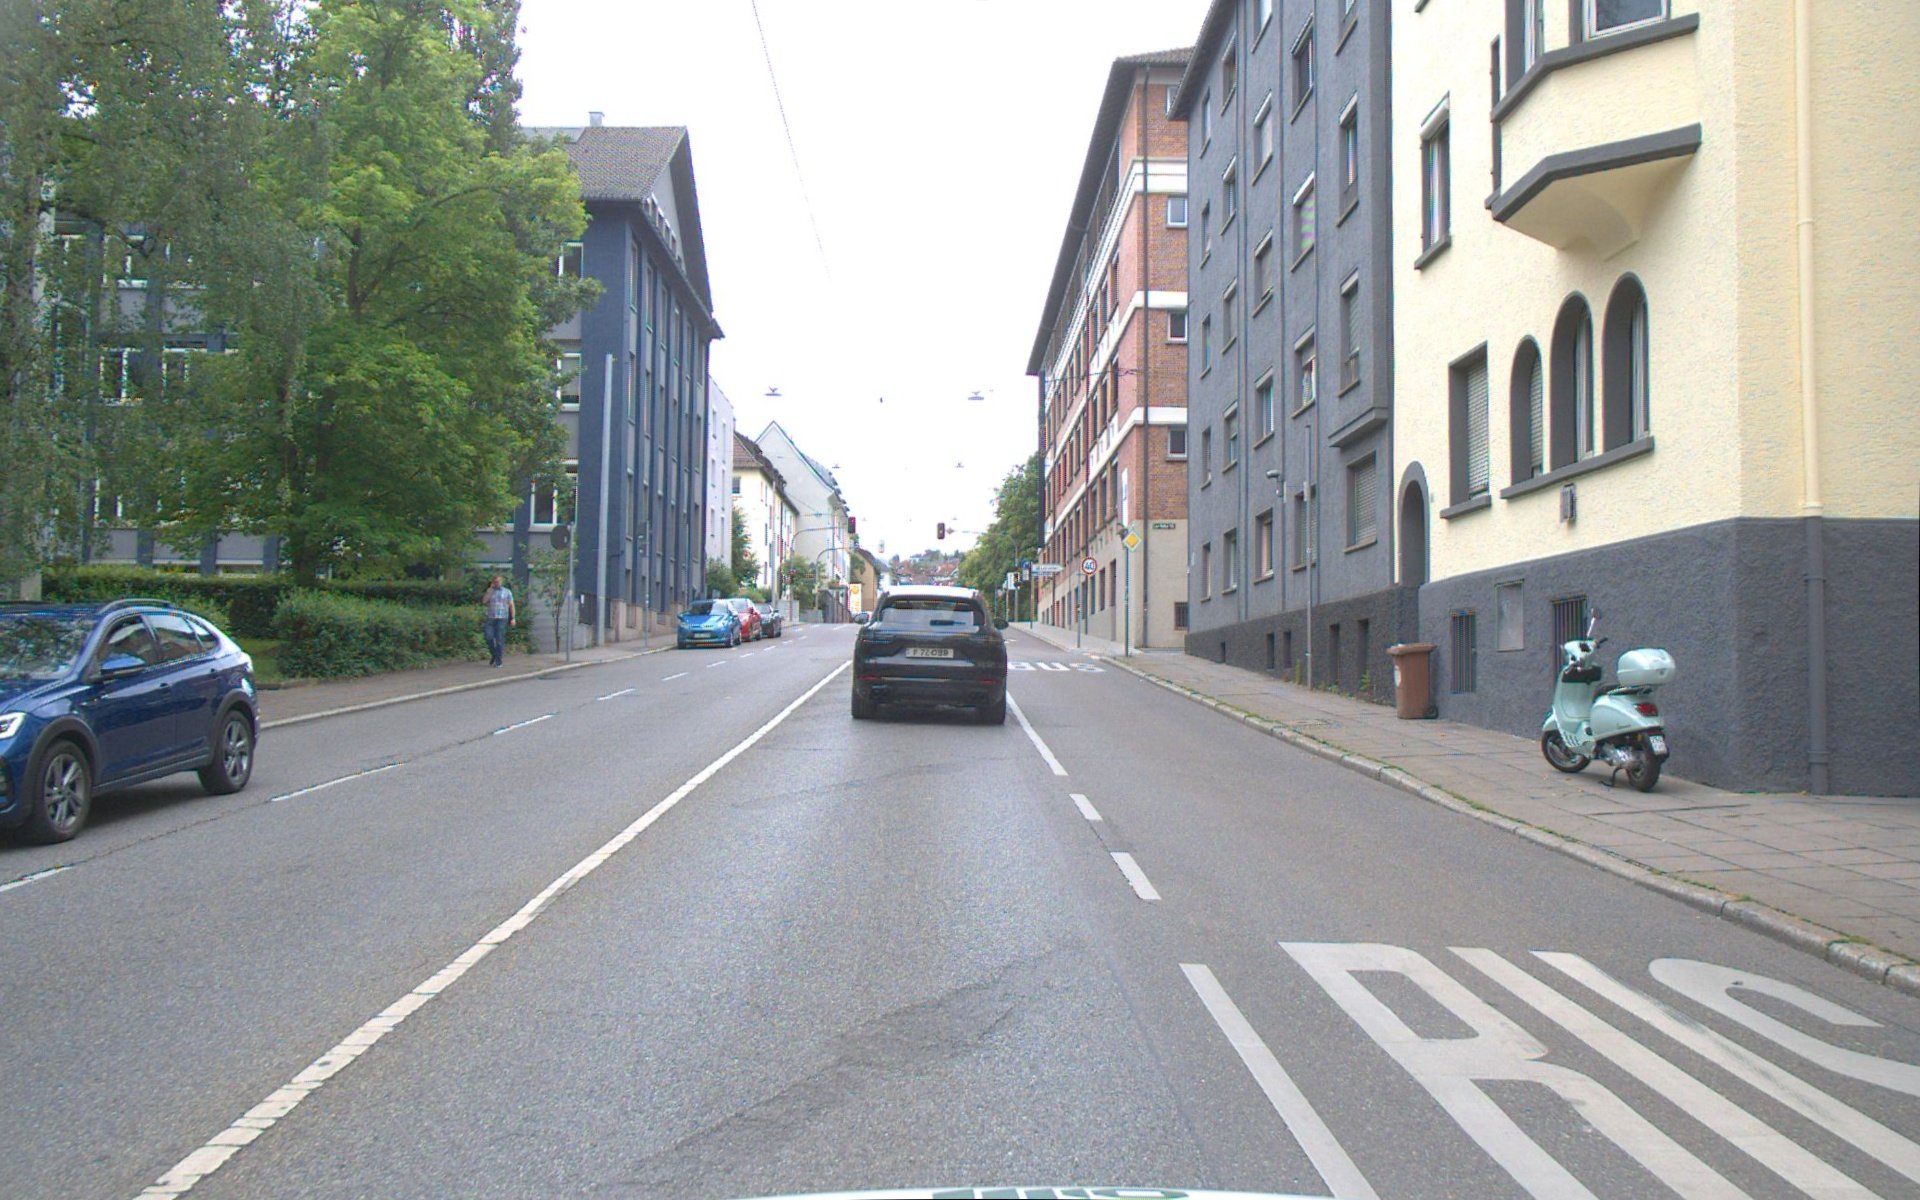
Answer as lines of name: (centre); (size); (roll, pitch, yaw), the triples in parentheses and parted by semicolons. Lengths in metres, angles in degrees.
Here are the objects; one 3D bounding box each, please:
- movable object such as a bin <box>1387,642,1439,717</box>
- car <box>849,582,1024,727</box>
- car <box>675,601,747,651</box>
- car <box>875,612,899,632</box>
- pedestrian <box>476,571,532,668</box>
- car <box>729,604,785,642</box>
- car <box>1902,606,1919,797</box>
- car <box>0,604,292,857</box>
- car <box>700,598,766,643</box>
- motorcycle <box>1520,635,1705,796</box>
movable object such as a bin: (5.703, 0.998, 20.837); (0.465, 0.907, 0.516); (-2, 0, -2)
car: (-0.422, 0.672, 21.996); (1.984, 1.670, 4.351); (2, 0, -5)
car: (-7.793, 0.780, 51.985); (1.679, 1.448, 3.988); (-2, 0, -1)
car: (-6.455, 1.928, 146.435); (1.858, 1.721, 4.000); (-2, 0, 1)
pedestrian: (-9.616, 0.413, 34.909); (0.864, 1.984, 0.867); (3, 0, -1)
car: (-7.772, 0.850, 63.576); (1.679, 1.364, 3.903); (-2, 0, -1)
car: (9.236, 0.742, 11.846); (3.905, 1.448, 1.885); (-1, 0, -1)
car: (-6.523, 0.787, 11.746); (1.801, 1.473, 4.310); (-1, 0, 0)
car: (-7.860, 0.701, 57.546); (1.679, 1.482, 3.989); (-2, 0, 0)
motorcycle: (5.444, 0.922, 13.962); (0.527, 1.176, 2.225); (-2, 0, -3)
